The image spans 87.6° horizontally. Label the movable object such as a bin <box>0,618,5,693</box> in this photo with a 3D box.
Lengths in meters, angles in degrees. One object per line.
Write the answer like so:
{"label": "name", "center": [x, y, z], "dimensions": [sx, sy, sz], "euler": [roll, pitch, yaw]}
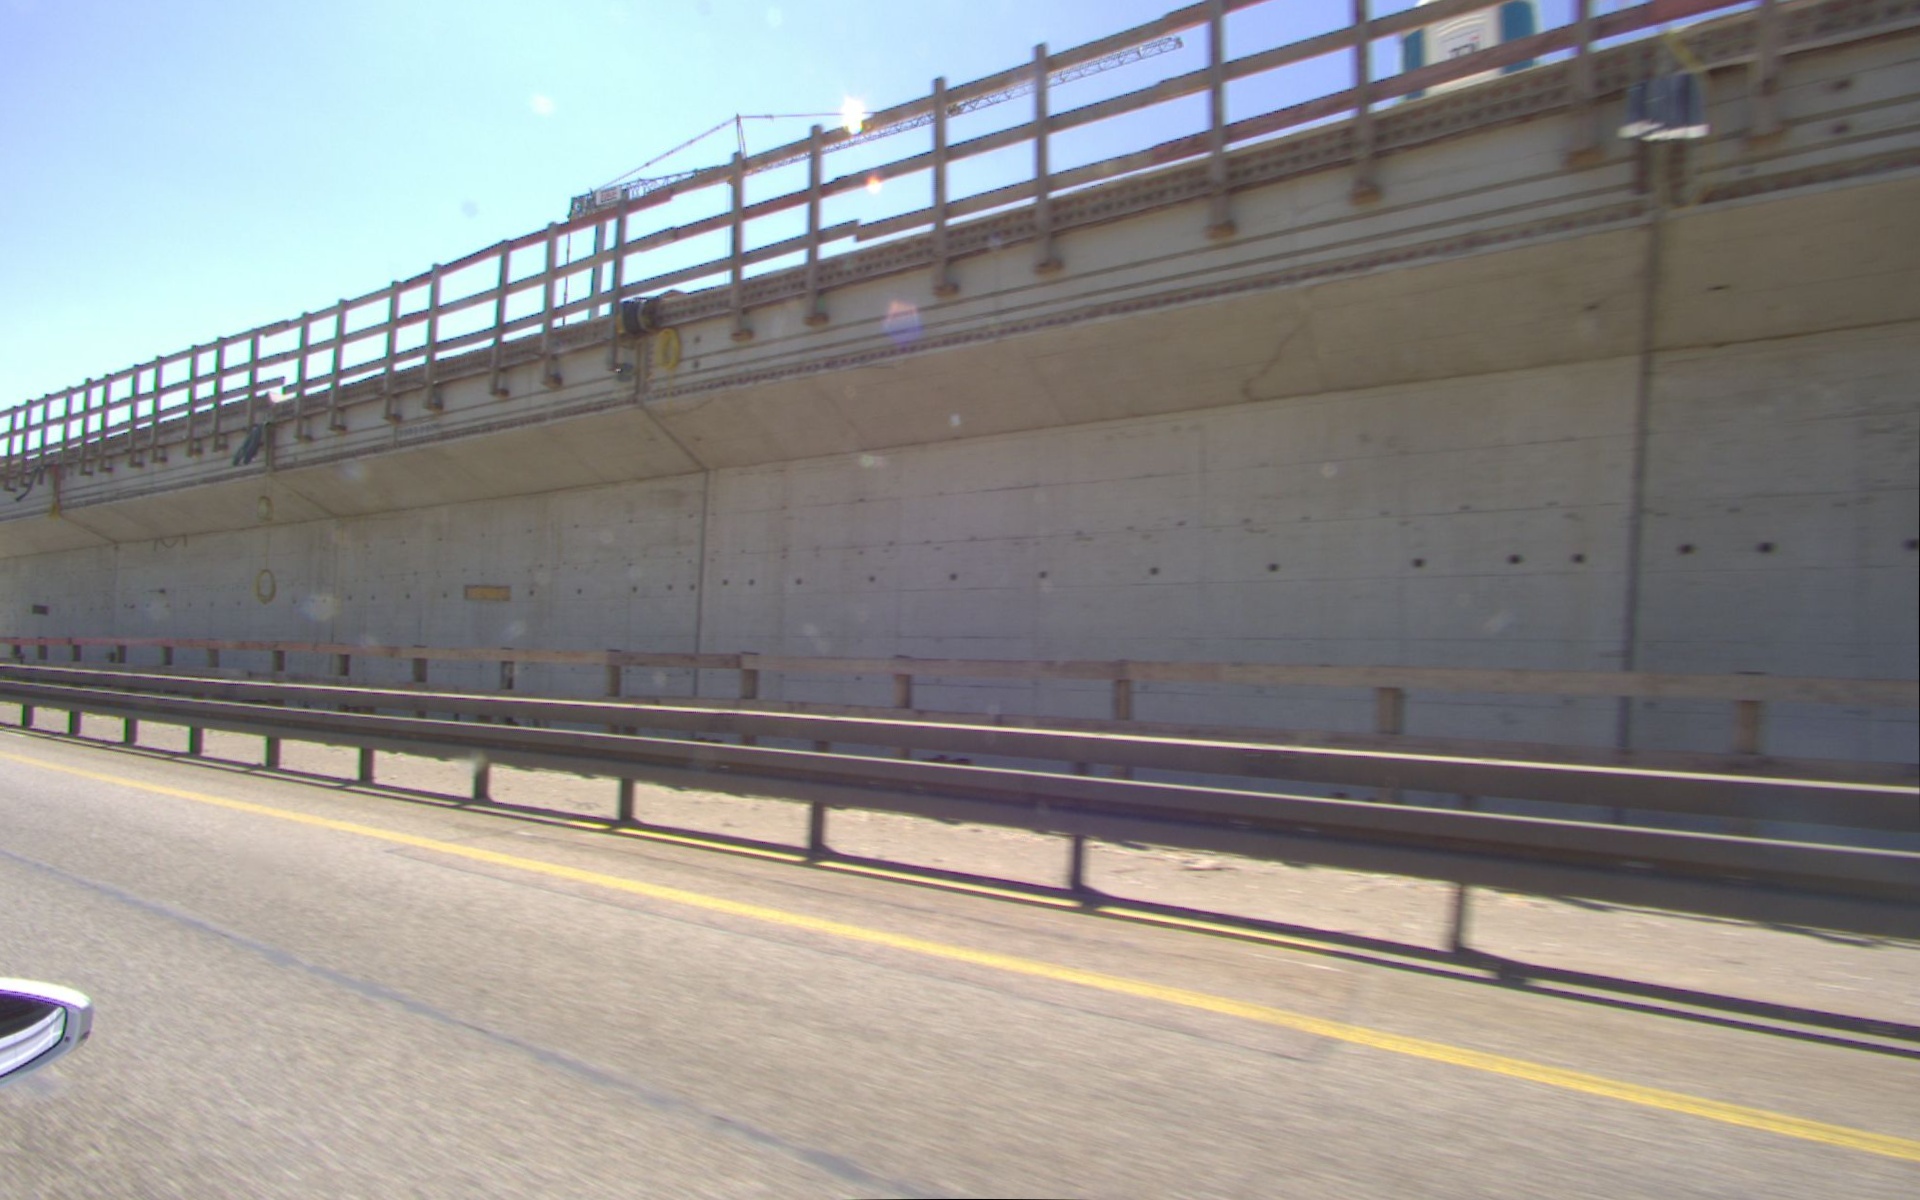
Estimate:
{"label": "movable object such as a bin", "center": [-66.249, 3.641, 65.524], "dimensions": [9.518, 4.803, 3.222], "euler": [-2, -2, 32]}
